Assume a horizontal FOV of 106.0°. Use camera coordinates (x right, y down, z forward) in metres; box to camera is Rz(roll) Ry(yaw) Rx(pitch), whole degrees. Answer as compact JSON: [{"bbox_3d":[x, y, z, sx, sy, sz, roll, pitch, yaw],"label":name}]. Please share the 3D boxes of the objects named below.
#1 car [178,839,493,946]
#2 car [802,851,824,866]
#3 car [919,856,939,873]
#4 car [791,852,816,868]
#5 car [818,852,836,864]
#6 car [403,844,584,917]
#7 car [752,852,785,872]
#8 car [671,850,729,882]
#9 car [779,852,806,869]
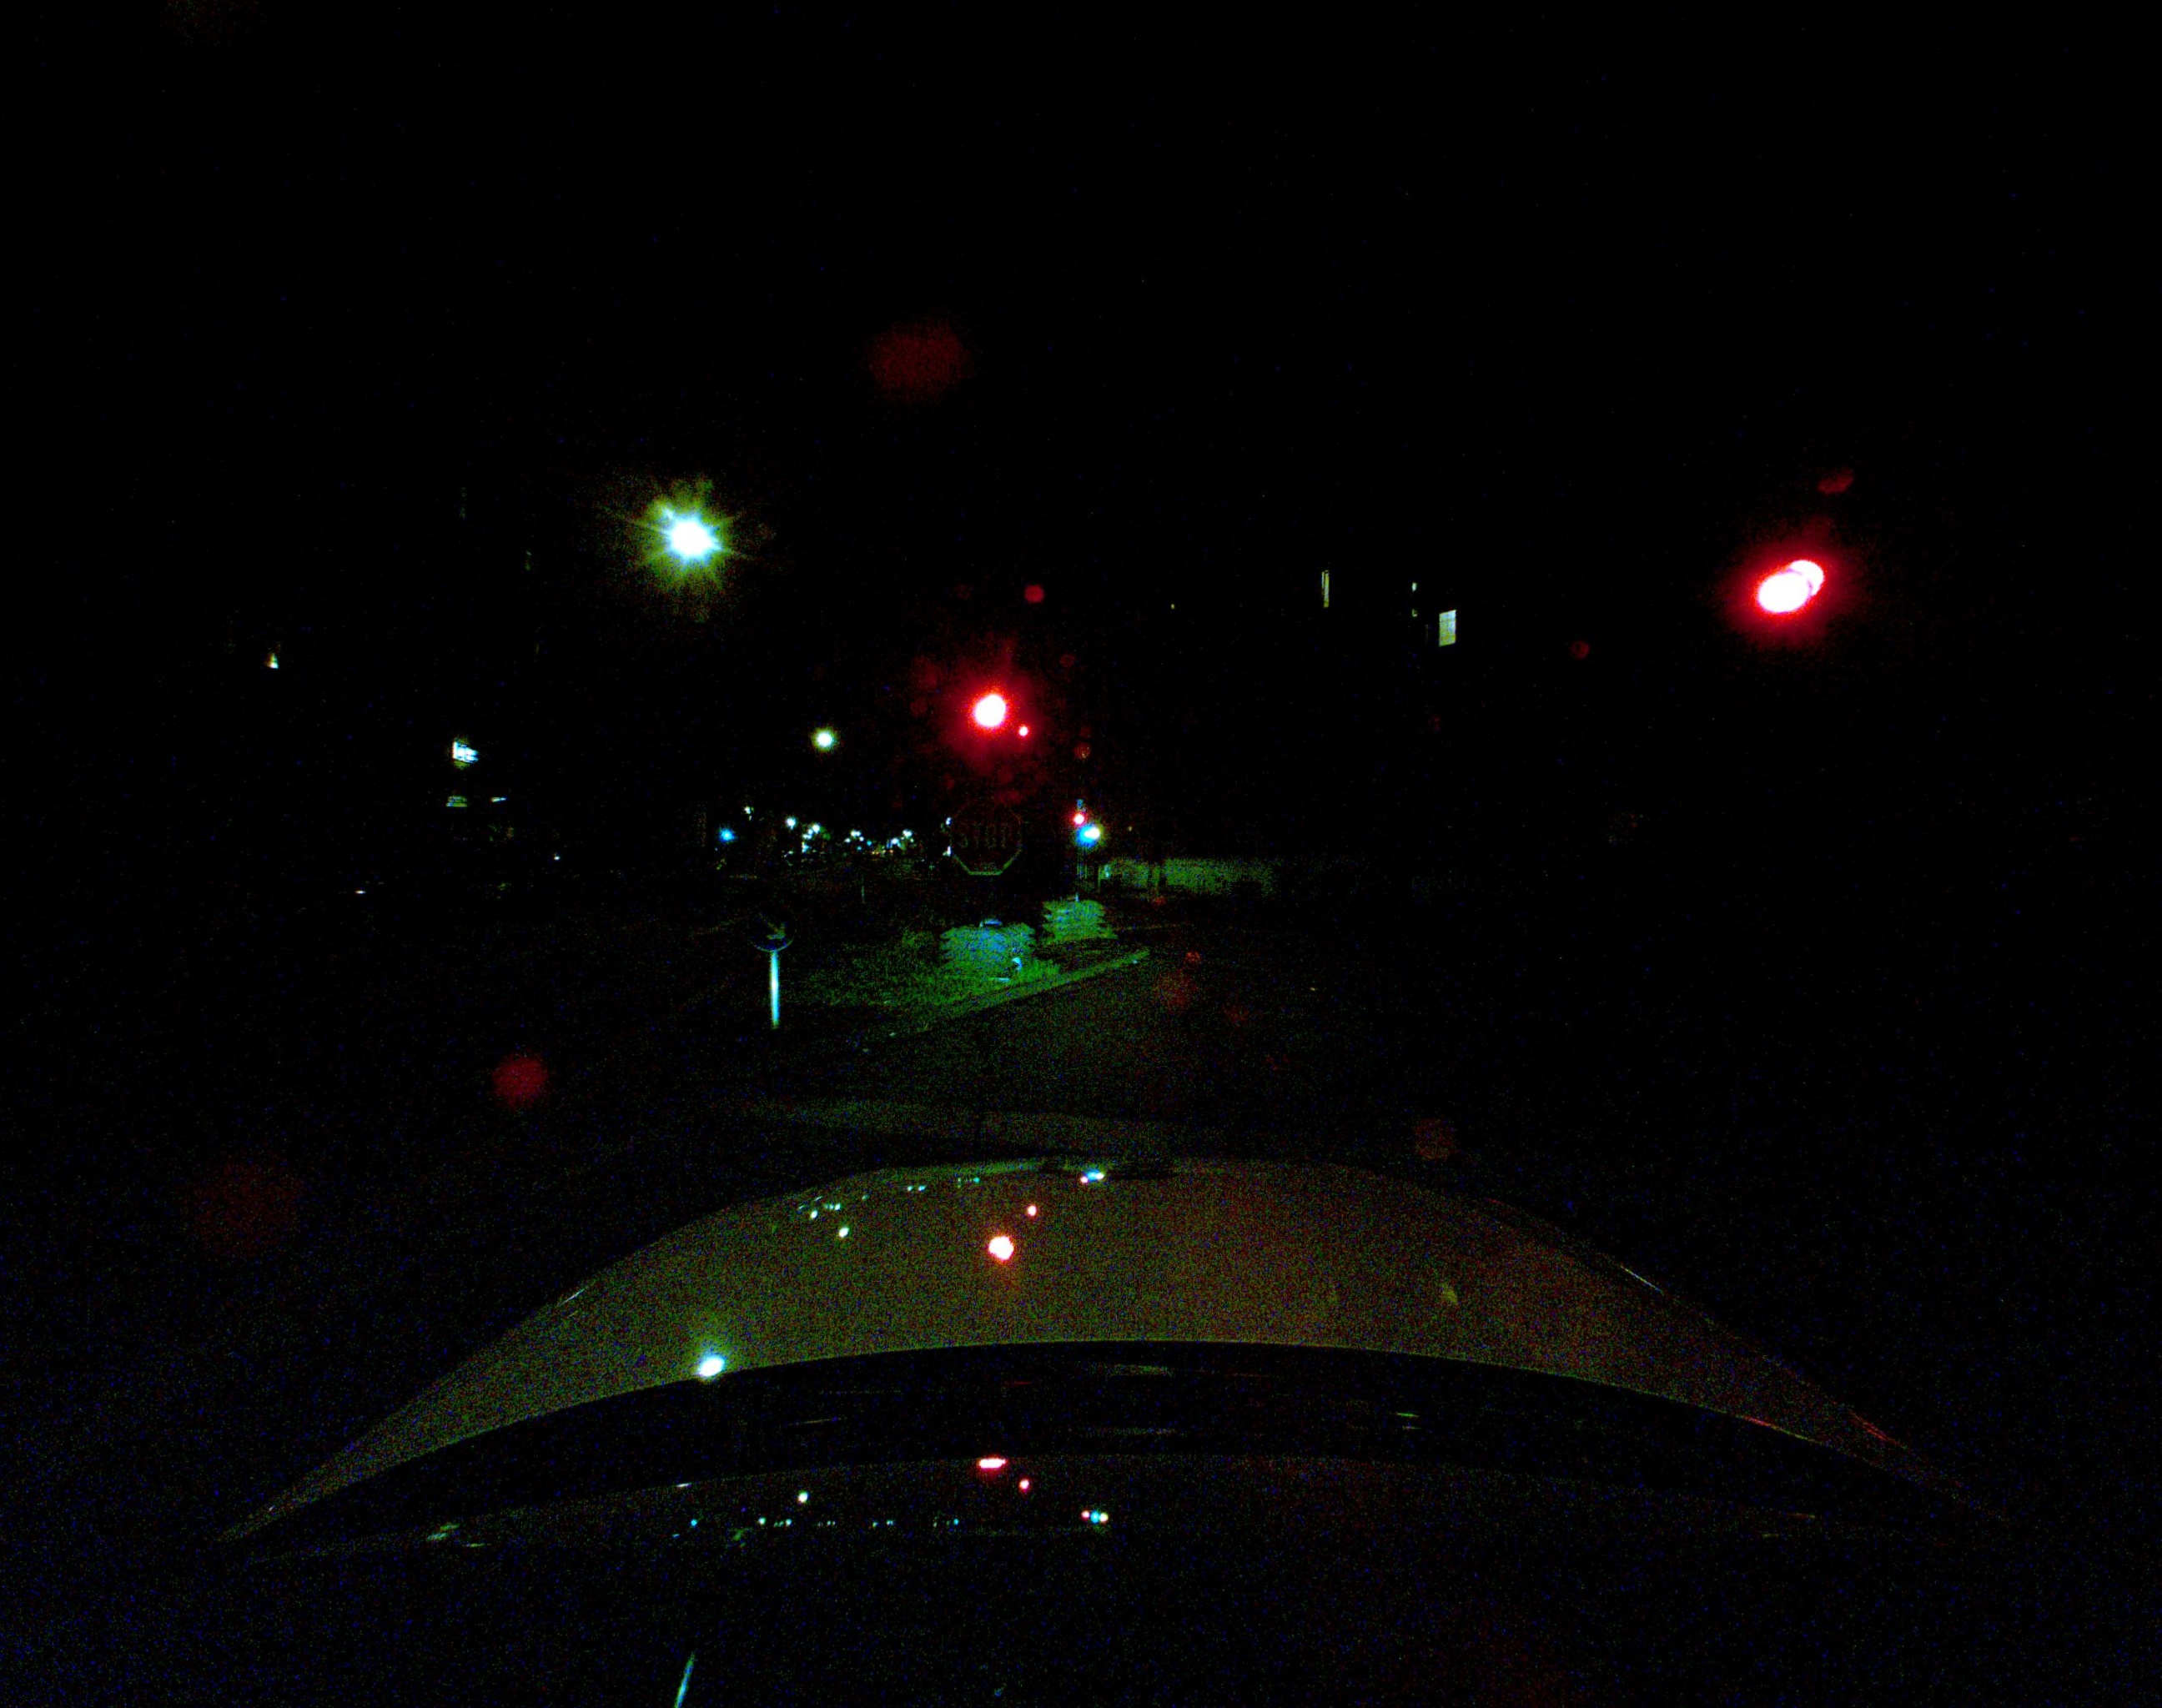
[{"bbox_3d":[-12.319,0.560,13.960,1.901,1.471,4.434,3,0,-12],"label":"car"},{"bbox_3d":[-26.578,0.484,80.754,1.653,1.431,3.983,1,0,-12],"label":"car"},{"bbox_3d":[-13.623,0.912,73.078,1.652,1.431,3.985,1,0,-11],"label":"car"},{"bbox_3d":[-25.281,0.568,74.246,1.653,1.431,3.983,1,0,-12],"label":"car"},{"bbox_3d":[-29.313,0.452,94.094,1.653,1.431,3.983,1,0,-12],"label":"car"},{"bbox_3d":[-13.321,0.565,18.832,1.805,1.481,4.304,1,-1,-13],"label":"car"},{"bbox_3d":[-23.042,0.580,60.203,1.653,1.431,3.983,1,0,-12],"label":"car"},{"bbox_3d":[-18.184,0.555,39.042,1.653,1.431,3.983,1,0,-12],"label":"car"},{"bbox_3d":[-24.032,0.532,67.969,1.653,1.431,3.983,1,0,-12],"label":"car"}]
